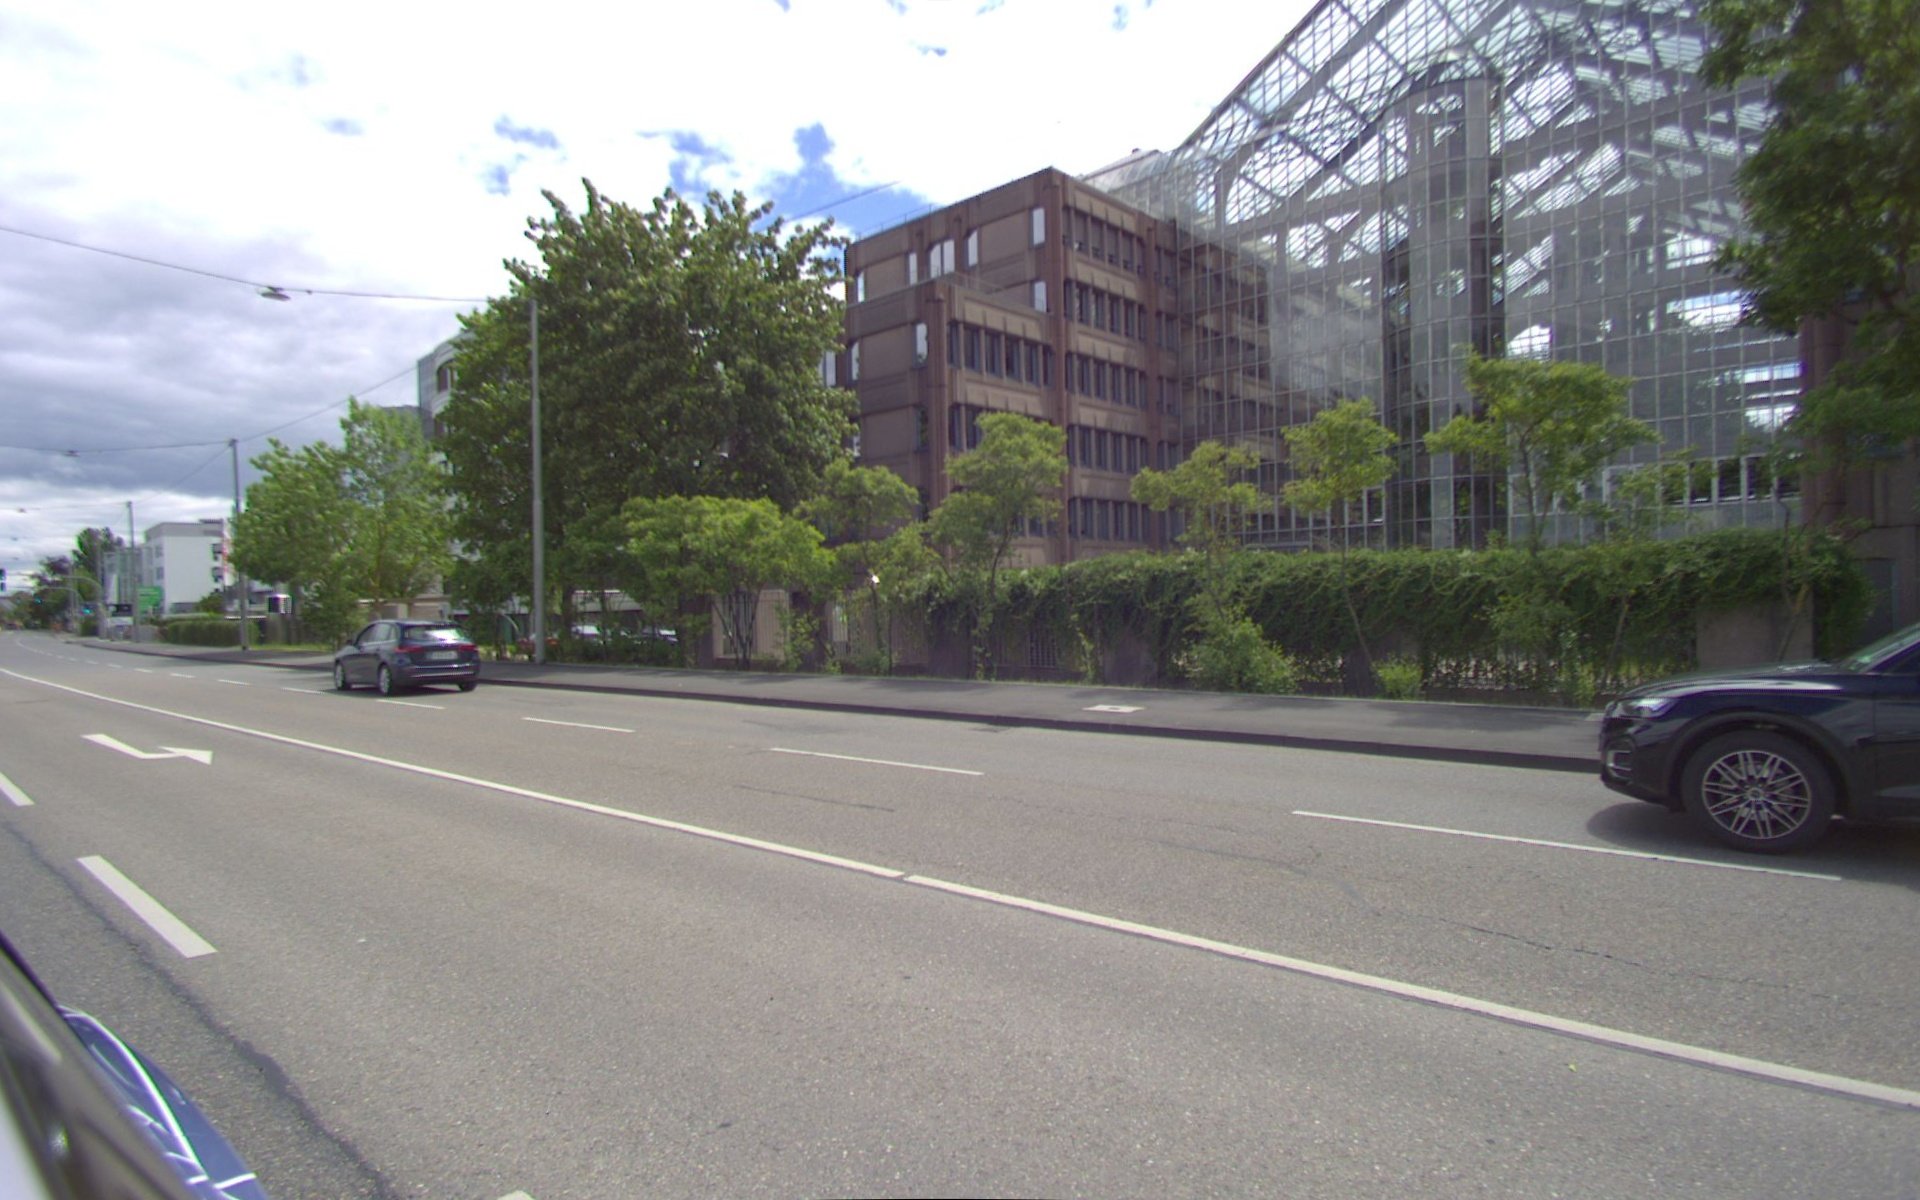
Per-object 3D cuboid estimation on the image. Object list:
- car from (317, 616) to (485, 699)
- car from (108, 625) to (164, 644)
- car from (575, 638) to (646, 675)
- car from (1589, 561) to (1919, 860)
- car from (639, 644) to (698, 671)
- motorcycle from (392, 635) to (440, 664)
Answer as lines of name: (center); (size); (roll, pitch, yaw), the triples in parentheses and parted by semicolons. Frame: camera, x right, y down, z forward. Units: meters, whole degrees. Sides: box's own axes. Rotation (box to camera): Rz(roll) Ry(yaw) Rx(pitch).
car: (-12.105, 1.167, 21.808); (4.310, 1.597, 1.778); (-1, -1, 41)
car: (-74.760, 3.126, 91.850); (1.835, 1.623, 3.752); (-2, -1, 41)
car: (-19.838, 3.216, 57.348); (3.994, 1.807, 1.845); (2, -2, 38)
car: (6.394, 0.608, 5.733); (4.570, 1.627, 1.848); (-1, -1, 42)
car: (-17.313, 3.381, 60.025); (3.999, 1.386, 1.505); (-1, 0, 42)
motorcycle: (-25.902, 2.352, 48.235); (0.745, 1.254, 1.881); (-1, 0, 40)
